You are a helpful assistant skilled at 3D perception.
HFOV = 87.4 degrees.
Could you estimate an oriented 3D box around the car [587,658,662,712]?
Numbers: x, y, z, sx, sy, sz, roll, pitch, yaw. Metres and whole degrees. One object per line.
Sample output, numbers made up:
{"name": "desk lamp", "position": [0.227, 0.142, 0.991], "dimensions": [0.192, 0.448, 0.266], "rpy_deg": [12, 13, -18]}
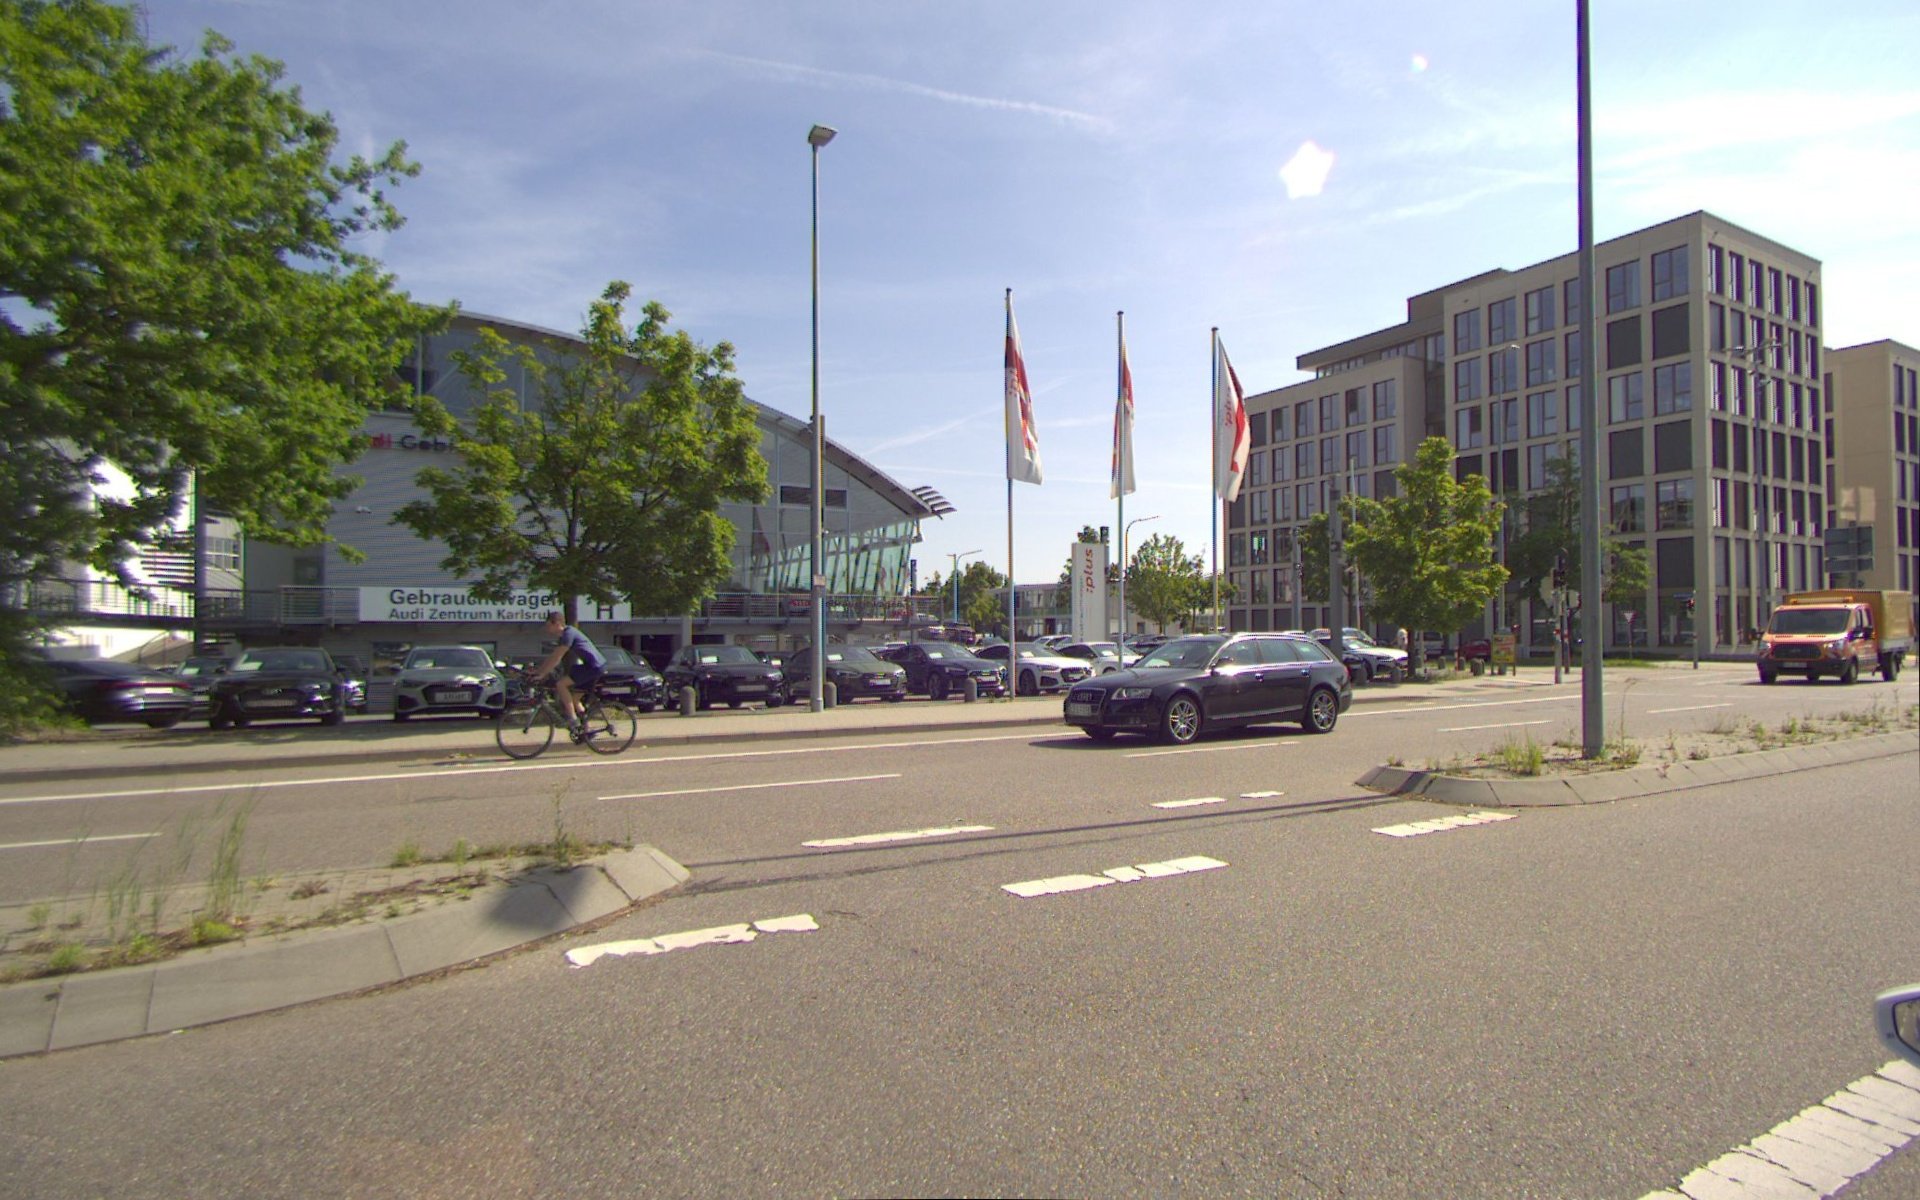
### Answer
{"name": "car", "position": [-10.450, 2.585, 31.169], "dimensions": [1.570, 1.492, 3.491], "rpy_deg": [1, -2, -30]}

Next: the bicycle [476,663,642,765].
{"name": "bicycle", "position": [-5.033, 1.397, 12.651], "dimensions": [1.900, 1.165, 0.569], "rpy_deg": [1, -2, -28]}

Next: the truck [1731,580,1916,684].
{"name": "truck", "position": [24.676, 0.941, 28.606], "dimensions": [6.606, 2.658, 2.361], "rpy_deg": [1, -4, -35]}

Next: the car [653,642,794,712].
{"name": "car", "position": [-5.302, 1.708, 22.116], "dimensions": [1.809, 1.372, 4.261], "rpy_deg": [1, -5, -31]}

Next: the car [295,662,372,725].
{"name": "car", "position": [-17.088, 2.489, 27.508], "dimensions": [1.671, 1.492, 3.798], "rpy_deg": [1, -2, -31]}

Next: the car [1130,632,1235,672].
{"name": "car", "position": [10.192, 2.350, 45.814], "dimensions": [4.722, 1.525, 1.779], "rpy_deg": [-2, -1, -31]}

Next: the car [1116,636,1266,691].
{"name": "car", "position": [6.947, 1.848, 30.088], "dimensions": [4.373, 1.515, 1.789], "rpy_deg": [1, -2, -30]}

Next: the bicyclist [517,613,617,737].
{"name": "bicyclist", "position": [-4.964, 0.927, 12.698], "dimensions": [1.129, 1.502, 0.568], "rpy_deg": [1, -2, -28]}

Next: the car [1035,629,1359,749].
{"name": "car", "position": [3.493, 1.205, 14.513], "dimensions": [4.612, 1.478, 1.837], "rpy_deg": [1, -4, -32]}

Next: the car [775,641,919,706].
{"name": "car", "position": [-2.755, 1.748, 23.568], "dimensions": [1.833, 1.352, 4.157], "rpy_deg": [1, -5, -30]}

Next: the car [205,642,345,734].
{"name": "car", "position": [-12.097, 1.558, 17.965], "dimensions": [1.788, 1.420, 4.006], "rpy_deg": [1, -5, -31]}

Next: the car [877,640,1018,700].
{"name": "car", "position": [-0.403, 1.748, 24.789], "dimensions": [1.815, 1.336, 3.972], "rpy_deg": [1, -5, -29]}

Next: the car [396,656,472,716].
{"name": "car", "position": [-15.087, 2.399, 28.728], "dimensions": [1.783, 1.492, 3.800], "rpy_deg": [1, -2, -30]}

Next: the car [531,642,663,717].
{"name": "car", "position": [-7.564, 1.640, 20.691], "dimensions": [1.814, 1.372, 4.091], "rpy_deg": [1, -5, -31]}

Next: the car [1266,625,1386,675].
{"name": "car", "position": [14.195, 1.921, 38.908], "dimensions": [4.540, 1.635, 1.805], "rpy_deg": [-2, -1, -30]}

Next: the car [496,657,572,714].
{"name": "car", "position": [-12.778, 2.510, 30.052], "dimensions": [1.670, 1.492, 3.643], "rpy_deg": [1, -2, -30]}

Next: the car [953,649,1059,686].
{"name": "car", "position": [1.895, 2.706, 40.922], "dimensions": [4.018, 1.396, 1.779], "rpy_deg": [1, -3, -31]}

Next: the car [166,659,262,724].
{"name": "car", "position": [-19.394, 2.331, 26.251], "dimensions": [1.671, 1.456, 3.797], "rpy_deg": [1, -2, -32]}

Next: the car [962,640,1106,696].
{"name": "car", "position": [1.845, 1.811, 26.280], "dimensions": [1.846, 1.336, 3.971], "rpy_deg": [1, -5, -30]}

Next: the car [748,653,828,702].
{"name": "car", "position": [-5.849, 2.567, 33.875], "dimensions": [1.506, 1.492, 3.490], "rpy_deg": [1, -2, -31]}

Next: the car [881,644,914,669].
{"name": "car", "position": [-3.721, 3.350, 59.973], "dimensions": [1.762, 1.461, 4.028], "rpy_deg": [0, -2, -1]}

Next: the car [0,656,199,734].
{"name": "car", "position": [-16.845, 1.778, 19.046], "dimensions": [3.762, 1.350, 1.691], "rpy_deg": [-1, -2, 8]}

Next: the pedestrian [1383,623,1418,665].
{"name": "pedestrian", "position": [18.832, 1.892, 42.939], "dimensions": [0.906, 1.772, 0.996], "rpy_deg": [1, -2, -30]}

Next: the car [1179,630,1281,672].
{"name": "car", "position": [11.783, 2.200, 43.825], "dimensions": [4.325, 1.564, 1.779], "rpy_deg": [-2, -1, -31]}

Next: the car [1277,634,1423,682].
{"name": "car", "position": [12.756, 1.872, 33.147], "dimensions": [1.876, 1.451, 4.356], "rpy_deg": [1, -3, -28]}

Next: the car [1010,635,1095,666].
{"name": "car", "position": [5.127, 2.755, 55.403], "dimensions": [4.506, 1.461, 1.779], "rpy_deg": [-1, -2, -31]}

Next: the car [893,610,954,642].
{"name": "car", "position": [-2.484, 1.757, 67.224], "dimensions": [2.066, 1.932, 4.508], "rpy_deg": [5, -4, -32]}

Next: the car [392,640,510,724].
{"name": "car", "position": [-9.839, 1.571, 19.251], "dimensions": [1.781, 1.412, 4.197], "rpy_deg": [1, -5, -30]}

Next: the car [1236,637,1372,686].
{"name": "car", "position": [10.767, 1.892, 31.652], "dimensions": [1.744, 1.421, 3.815], "rpy_deg": [1, -3, -31]}

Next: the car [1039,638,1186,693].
{"name": "car", "position": [4.089, 1.836, 27.612], "dimensions": [1.856, 1.387, 4.055], "rpy_deg": [1, -5, -30]}

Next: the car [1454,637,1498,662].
{"name": "car", "position": [31.969, 3.070, 62.350], "dimensions": [1.772, 1.434, 4.031], "rpy_deg": [-1, -2, 18]}

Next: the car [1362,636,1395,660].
{"name": "car", "position": [28.372, 3.260, 68.160], "dimensions": [1.772, 1.533, 4.000], "rpy_deg": [-1, -2, 19]}

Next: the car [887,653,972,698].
{"name": "car", "position": [-1.164, 2.710, 36.764], "dimensions": [1.641, 1.492, 3.490], "rpy_deg": [1, -2, -31]}

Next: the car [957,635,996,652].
{"name": "car", "position": [1.903, 5.020, 116.034], "dimensions": [4.189, 1.965, 1.885], "rpy_deg": [1, -2, -30]}

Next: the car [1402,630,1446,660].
{"name": "car", "position": [30.208, 2.921, 65.474], "dimensions": [1.860, 1.845, 4.816], "rpy_deg": [-1, -2, 16]}
